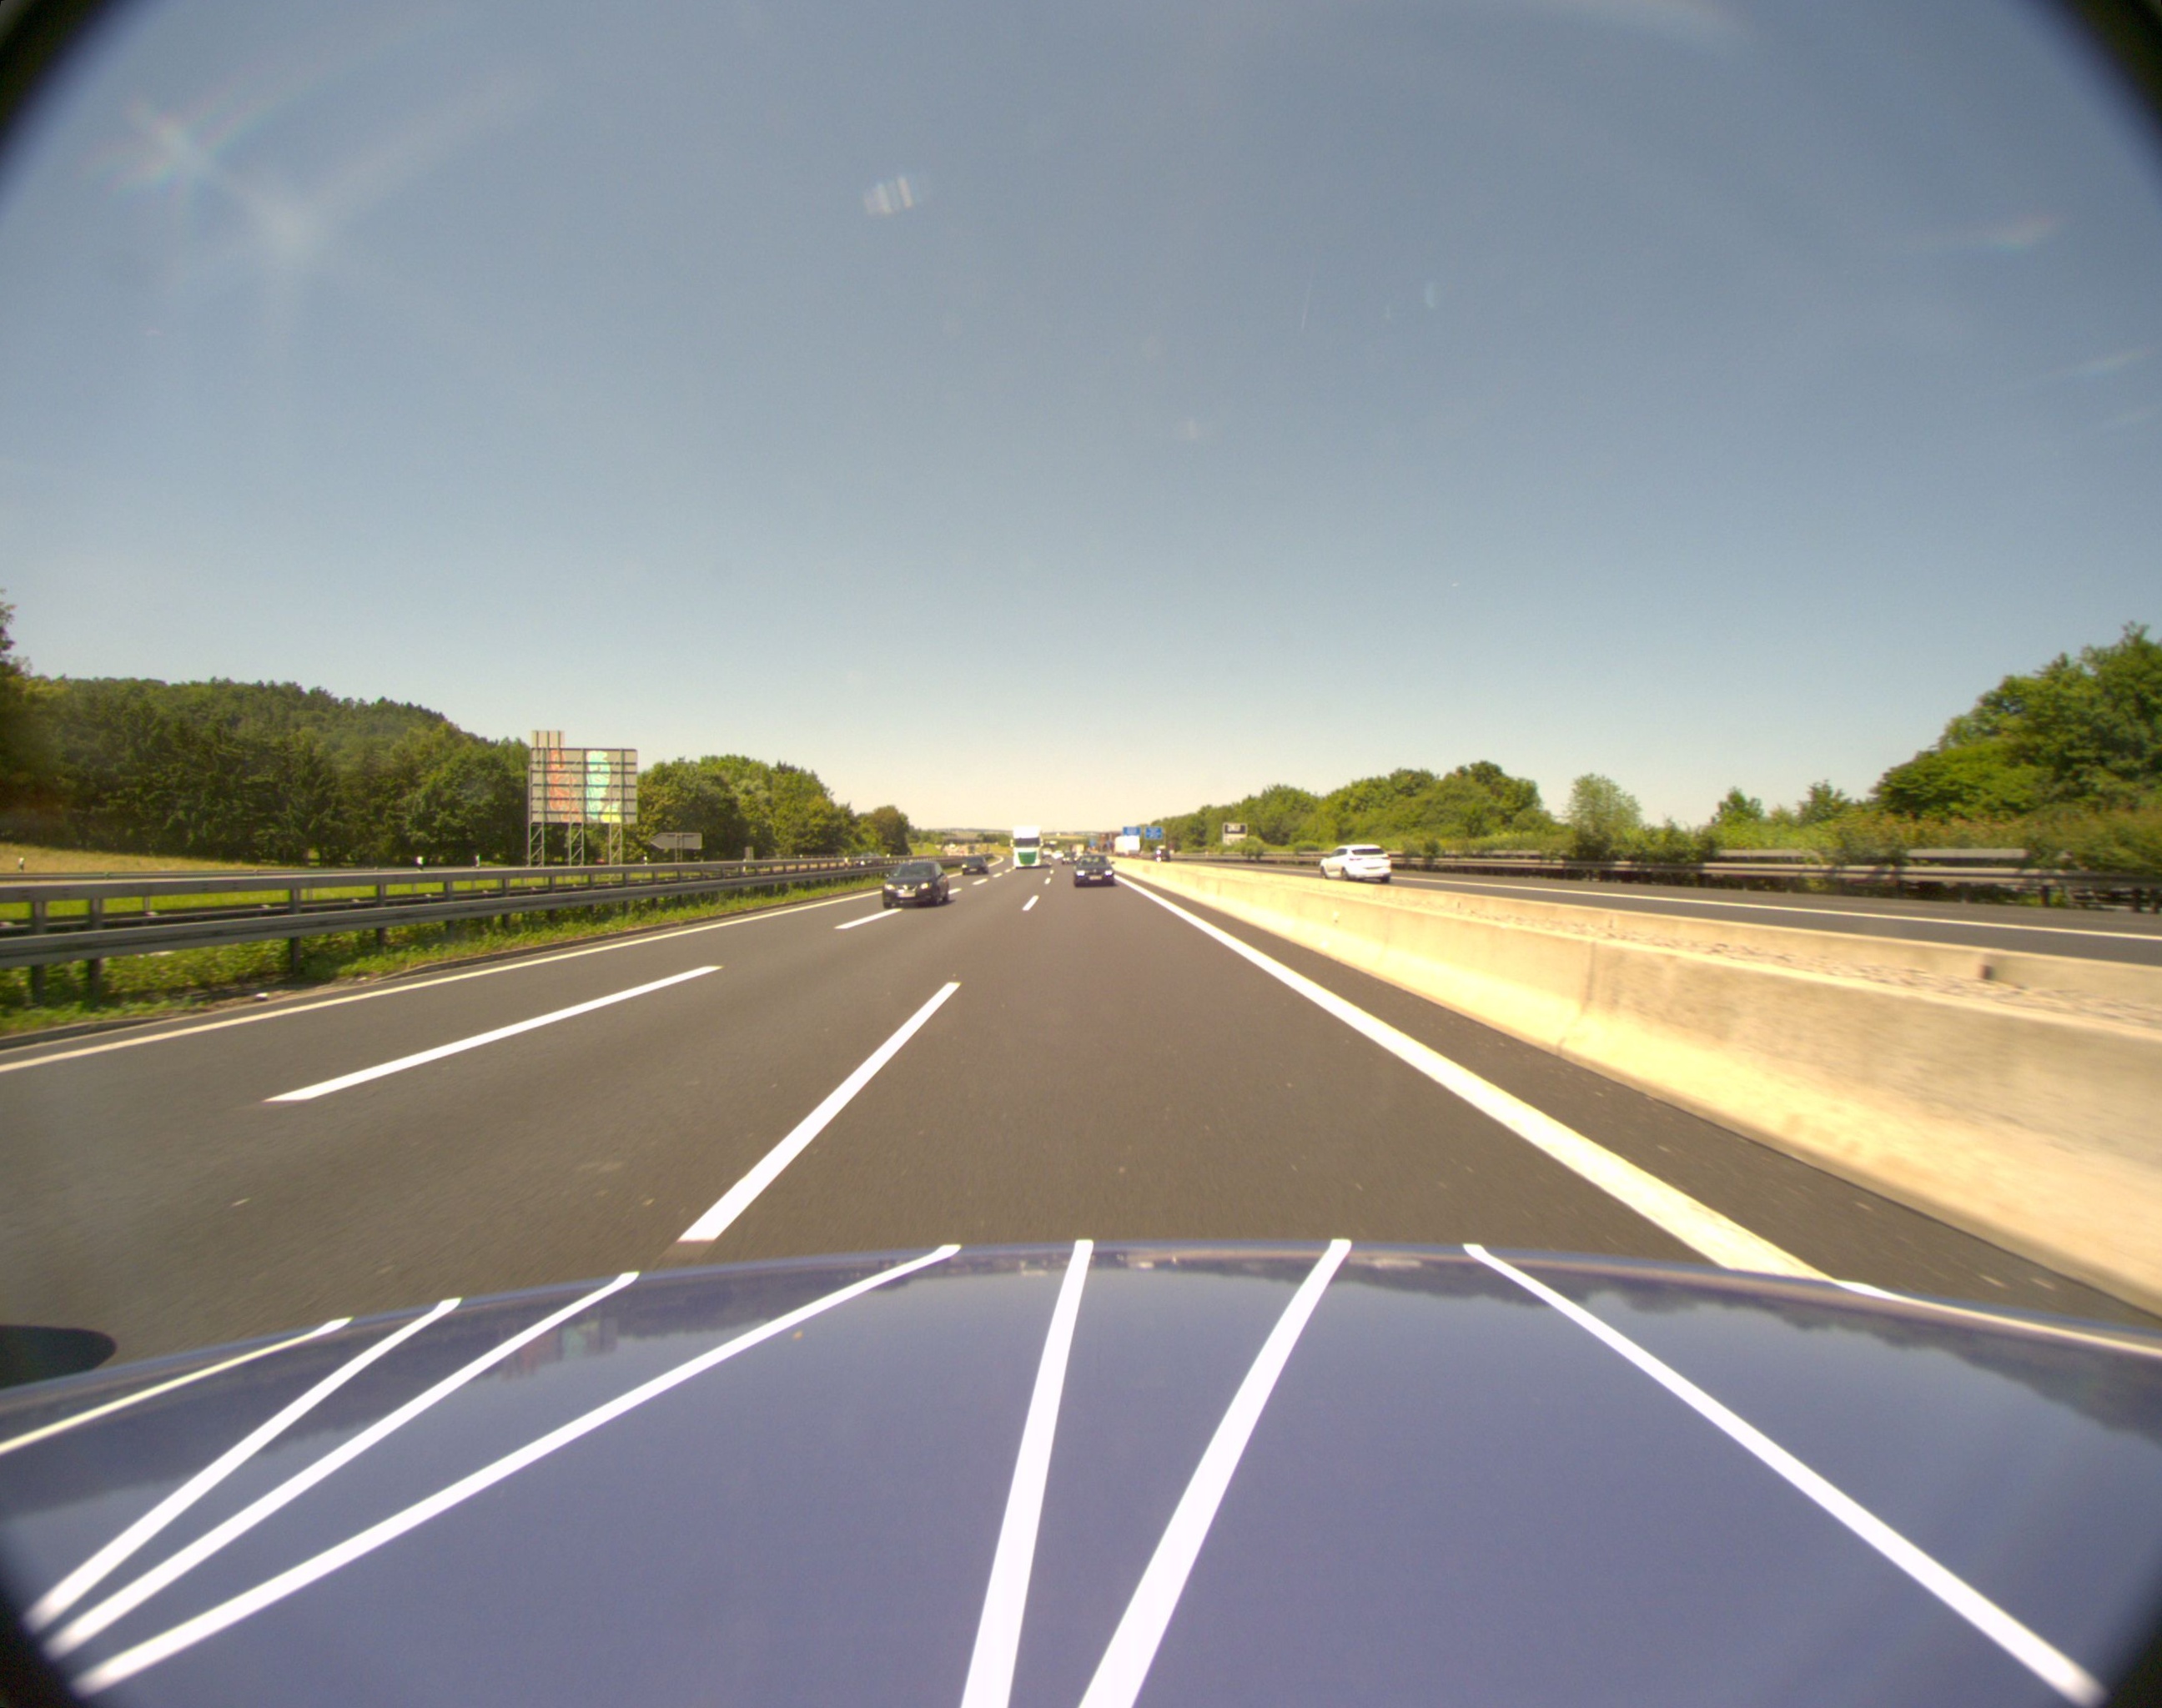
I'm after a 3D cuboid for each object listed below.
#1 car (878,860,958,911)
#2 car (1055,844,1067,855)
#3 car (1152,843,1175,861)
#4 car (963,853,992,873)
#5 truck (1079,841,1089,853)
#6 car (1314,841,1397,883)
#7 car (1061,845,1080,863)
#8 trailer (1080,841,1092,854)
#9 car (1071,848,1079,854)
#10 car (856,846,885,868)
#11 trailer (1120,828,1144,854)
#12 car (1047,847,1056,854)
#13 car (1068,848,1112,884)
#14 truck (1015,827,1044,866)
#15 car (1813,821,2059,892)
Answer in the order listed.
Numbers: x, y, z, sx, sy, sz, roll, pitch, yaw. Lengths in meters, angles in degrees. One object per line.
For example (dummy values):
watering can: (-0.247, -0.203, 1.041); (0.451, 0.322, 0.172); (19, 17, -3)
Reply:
car: (-5.166, 0.947, 24.514); (1.781, 1.392, 3.760); (-1, 1, -1)
car: (-3.493, -0.786, 132.406); (1.925, 2.002, 3.999); (0, 1, -2)
car: (9.689, -0.274, 89.690); (1.999, 2.069, 4.702); (-1, 1, -2)
car: (-8.026, 0.665, 59.154); (1.892, 1.464, 3.865); (-1, 1, -4)
truck: (1.034, -2.283, 254.736); (2.937, 3.950, 5.895); (-1, 1, -4)
car: (11.687, 0.285, 32.675); (1.873, 1.656, 4.663); (-1, 1, 0)
car: (-1.236, -0.027, 87.373); (1.999, 2.002, 3.998); (-1, 1, -4)
trailer: (1.571, -2.113, 246.268); (2.918, 4.022, 12.056); (-1, 1, -4)
car: (-1.738, -0.867, 218.671); (1.734, 1.527, 4.611); (0, 0, -5)
car: (-19.229, 0.248, 69.439); (2.000, 2.002, 3.997); (0, 1, -8)
trailer: (8.914, -2.306, 134.970); (2.725, 4.287, 12.817); (-1, 1, -3)
car: (-7.306, -0.851, 188.260); (1.884, 1.836, 3.999); (0, 1, 0)
car: (0.378, 0.541, 36.995); (1.799, 1.574, 3.997); (-1, 1, -4)
truck: (-4.999, -0.705, 73.199); (2.650, 3.572, 4.401); (-1, 1, -5)
car: (24.450, 0.042, 22.036); (1.999, 1.847, 4.427); (0, 1, -4)
